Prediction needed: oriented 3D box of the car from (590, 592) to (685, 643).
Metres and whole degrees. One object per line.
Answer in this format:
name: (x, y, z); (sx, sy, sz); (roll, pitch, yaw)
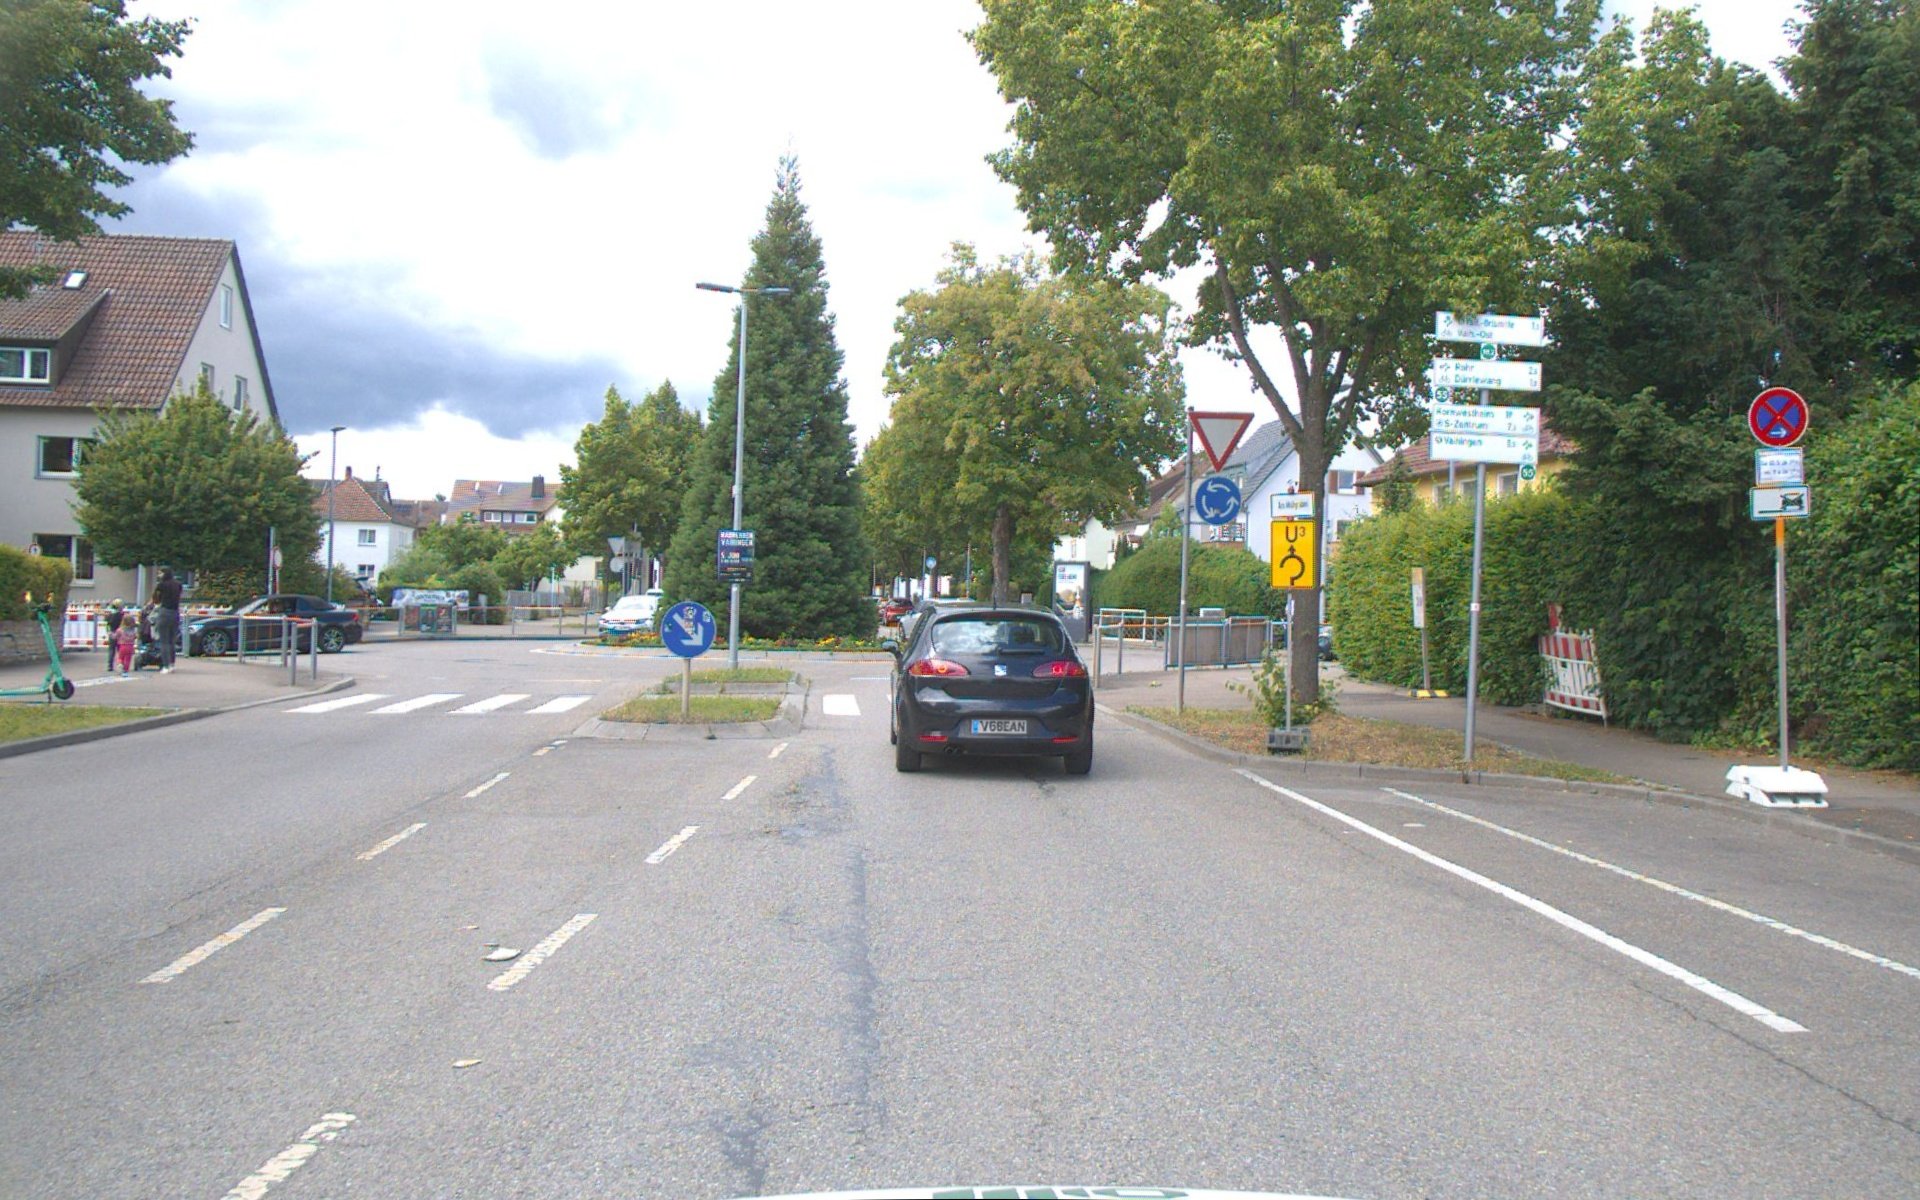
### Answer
car: (-10.523, 0.560, 54.267); (1.829, 1.588, 4.263); (1, 0, 7)

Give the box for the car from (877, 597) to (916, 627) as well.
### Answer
car: (-3.365, 0.617, 87.309); (1.449, 1.515, 3.370); (1, 0, -13)

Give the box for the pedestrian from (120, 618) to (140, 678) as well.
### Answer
pedestrian: (-12.914, 0.742, 25.722); (0.236, 0.910, 0.256); (0, 1, -36)

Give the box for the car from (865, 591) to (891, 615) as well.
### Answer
car: (-5.436, 0.217, 109.079); (1.564, 1.537, 3.596); (1, 0, -5)

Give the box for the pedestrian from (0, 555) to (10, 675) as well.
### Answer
pedestrian: (-14.749, 0.219, 25.022); (0.536, 1.815, 0.554); (1, 0, -43)

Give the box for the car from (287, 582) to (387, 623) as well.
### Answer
car: (-21.740, 0.086, 57.784); (2.979, 1.406, 1.339); (1, 0, 0)

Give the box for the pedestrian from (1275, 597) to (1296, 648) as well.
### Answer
pedestrian: (10.088, 0.703, 51.243); (0.482, 1.560, 0.483); (1, 0, 35)

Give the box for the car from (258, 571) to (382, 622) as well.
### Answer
car: (-21.453, -0.113, 55.518); (3.515, 1.639, 1.600); (1, 0, 0)

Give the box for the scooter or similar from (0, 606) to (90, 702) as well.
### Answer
scooter or similar: (-11.404, 0.654, 20.284); (1.273, 1.158, 0.343); (1, 0, -35)

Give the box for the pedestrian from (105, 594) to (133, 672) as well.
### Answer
pedestrian: (-13.783, 0.532, 27.103); (0.339, 1.266, 0.350); (1, 0, -36)

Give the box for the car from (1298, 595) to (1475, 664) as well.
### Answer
car: (11.480, 0.786, 44.669); (4.310, 1.690, 1.649); (2, 0, -3)

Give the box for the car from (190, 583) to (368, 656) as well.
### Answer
car: (-16.080, 0.448, 39.161); (1.547, 1.663, 3.595); (1, 0, 45)

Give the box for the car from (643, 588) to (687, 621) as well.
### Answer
car: (-15.076, 0.229, 84.709); (1.762, 1.629, 3.997); (0, 0, -4)

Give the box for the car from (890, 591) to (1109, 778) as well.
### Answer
car: (0.242, 0.687, 15.480); (1.698, 1.512, 3.997); (1, 0, -4)

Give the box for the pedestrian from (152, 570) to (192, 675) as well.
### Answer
pedestrian: (-12.861, 0.362, 26.980); (0.478, 1.699, 0.509); (1, 0, -37)

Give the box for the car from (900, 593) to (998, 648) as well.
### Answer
car: (-0.392, 0.623, 52.466); (1.963, 1.641, 3.979); (1, 0, -19)

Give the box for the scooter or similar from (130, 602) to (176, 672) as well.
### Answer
scooter or similar: (-13.417, 0.612, 27.501); (0.403, 1.114, 0.955); (4, -1, -41)
